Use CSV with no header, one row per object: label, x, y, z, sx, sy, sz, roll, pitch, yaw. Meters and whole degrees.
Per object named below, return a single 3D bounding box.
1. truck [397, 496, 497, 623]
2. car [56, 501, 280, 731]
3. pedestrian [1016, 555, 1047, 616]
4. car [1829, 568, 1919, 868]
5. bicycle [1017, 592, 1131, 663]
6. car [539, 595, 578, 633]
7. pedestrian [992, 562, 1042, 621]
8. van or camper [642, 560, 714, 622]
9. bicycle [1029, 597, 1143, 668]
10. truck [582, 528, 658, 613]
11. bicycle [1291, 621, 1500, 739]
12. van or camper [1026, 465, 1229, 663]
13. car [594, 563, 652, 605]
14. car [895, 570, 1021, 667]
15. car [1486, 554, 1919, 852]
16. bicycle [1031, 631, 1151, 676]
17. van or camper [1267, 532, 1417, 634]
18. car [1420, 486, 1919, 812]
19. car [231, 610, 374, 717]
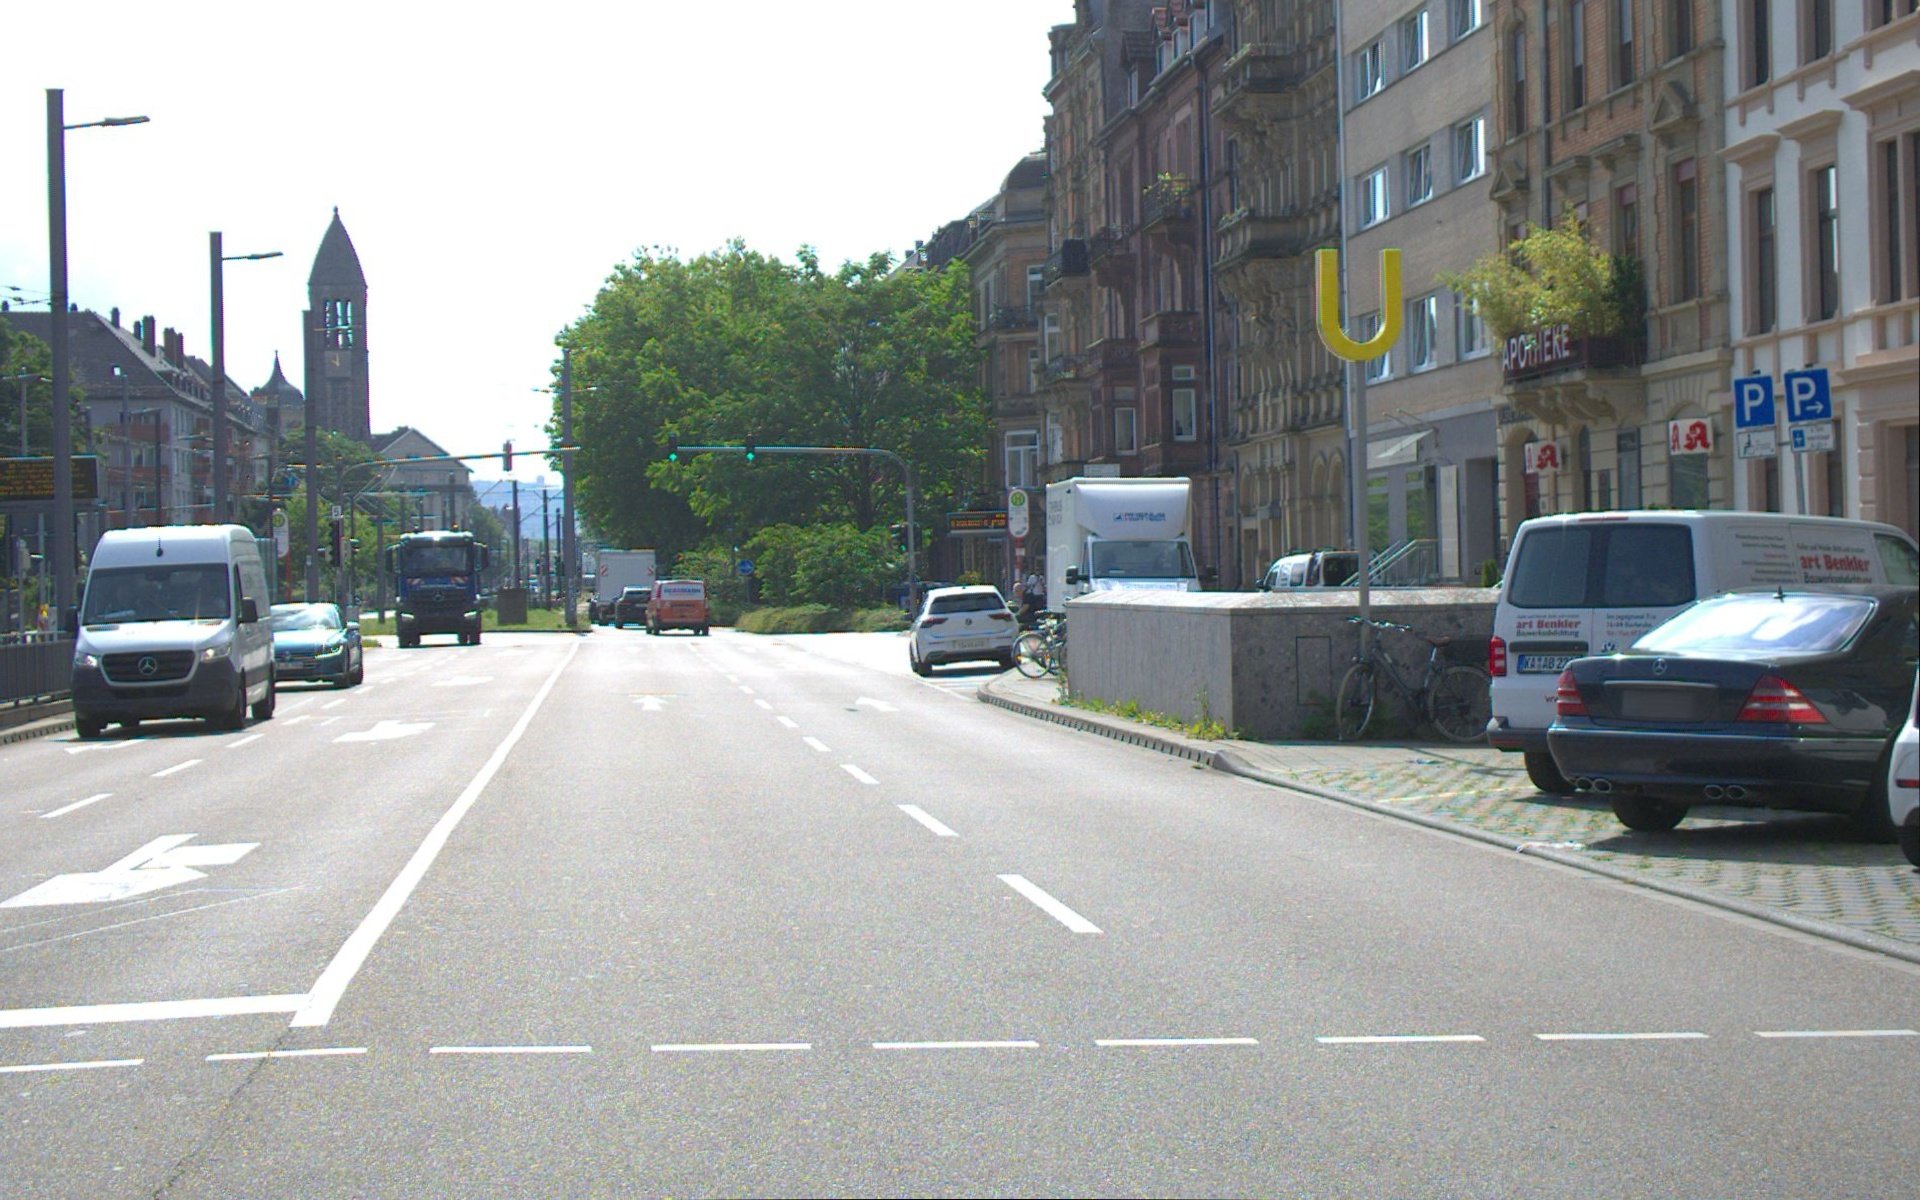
truck,-15.420,-1.213,103.760,2.462,3.636,7.451,-1,1,-5
car,-9.878,0.108,43.289,1.993,2.612,5.582,-2,2,-6
pedestrian,2.394,-0.488,115.715,0.885,2.007,0.996,1,1,-5
car,6.112,0.570,17.565,1.718,1.435,3.503,2,2,44
bicycle,1.806,0.431,54.519,1.758,1.081,0.372,0,3,-11
car,-18.968,0.660,162.474,1.770,1.656,4.000,0,-2,-6
pedestrian,1.300,-0.193,78.218,0.742,1.311,0.821,0,2,-44
van or camper,-9.600,-0.286,116.706,2.008,1.908,4.523,1,-2,-9
bicycle,1.985,0.506,54.019,1.758,1.081,0.372,-1,3,-17
truck,-14.621,-1.231,148.158,3.169,3.275,7.297,0,-3,-5
bicycle,3.929,0.718,31.044,1.772,1.000,0.513,1,1,-11
van or camper,2.921,-0.722,62.234,2.712,3.319,7.641,-1,2,-4
car,-12.610,-0.620,128.447,1.993,1.503,4.001,-1,1,-7
car,-0.070,0.286,59.239,1.790,1.432,4.344,-5,2,-4
car,5.366,0.508,20.517,1.889,1.463,5.052,1,2,43
bicycle,1.896,0.769,49.962,1.769,0.584,0.636,1,2,45
van or camper,8.020,-0.410,72.727,1.993,1.898,5.299,-3,2,-6
car,5.638,0.259,24.729,2.078,2.077,4.887,3,3,44
car,-11.085,1.045,58.221,1.849,1.450,4.556,-2,3,-5
